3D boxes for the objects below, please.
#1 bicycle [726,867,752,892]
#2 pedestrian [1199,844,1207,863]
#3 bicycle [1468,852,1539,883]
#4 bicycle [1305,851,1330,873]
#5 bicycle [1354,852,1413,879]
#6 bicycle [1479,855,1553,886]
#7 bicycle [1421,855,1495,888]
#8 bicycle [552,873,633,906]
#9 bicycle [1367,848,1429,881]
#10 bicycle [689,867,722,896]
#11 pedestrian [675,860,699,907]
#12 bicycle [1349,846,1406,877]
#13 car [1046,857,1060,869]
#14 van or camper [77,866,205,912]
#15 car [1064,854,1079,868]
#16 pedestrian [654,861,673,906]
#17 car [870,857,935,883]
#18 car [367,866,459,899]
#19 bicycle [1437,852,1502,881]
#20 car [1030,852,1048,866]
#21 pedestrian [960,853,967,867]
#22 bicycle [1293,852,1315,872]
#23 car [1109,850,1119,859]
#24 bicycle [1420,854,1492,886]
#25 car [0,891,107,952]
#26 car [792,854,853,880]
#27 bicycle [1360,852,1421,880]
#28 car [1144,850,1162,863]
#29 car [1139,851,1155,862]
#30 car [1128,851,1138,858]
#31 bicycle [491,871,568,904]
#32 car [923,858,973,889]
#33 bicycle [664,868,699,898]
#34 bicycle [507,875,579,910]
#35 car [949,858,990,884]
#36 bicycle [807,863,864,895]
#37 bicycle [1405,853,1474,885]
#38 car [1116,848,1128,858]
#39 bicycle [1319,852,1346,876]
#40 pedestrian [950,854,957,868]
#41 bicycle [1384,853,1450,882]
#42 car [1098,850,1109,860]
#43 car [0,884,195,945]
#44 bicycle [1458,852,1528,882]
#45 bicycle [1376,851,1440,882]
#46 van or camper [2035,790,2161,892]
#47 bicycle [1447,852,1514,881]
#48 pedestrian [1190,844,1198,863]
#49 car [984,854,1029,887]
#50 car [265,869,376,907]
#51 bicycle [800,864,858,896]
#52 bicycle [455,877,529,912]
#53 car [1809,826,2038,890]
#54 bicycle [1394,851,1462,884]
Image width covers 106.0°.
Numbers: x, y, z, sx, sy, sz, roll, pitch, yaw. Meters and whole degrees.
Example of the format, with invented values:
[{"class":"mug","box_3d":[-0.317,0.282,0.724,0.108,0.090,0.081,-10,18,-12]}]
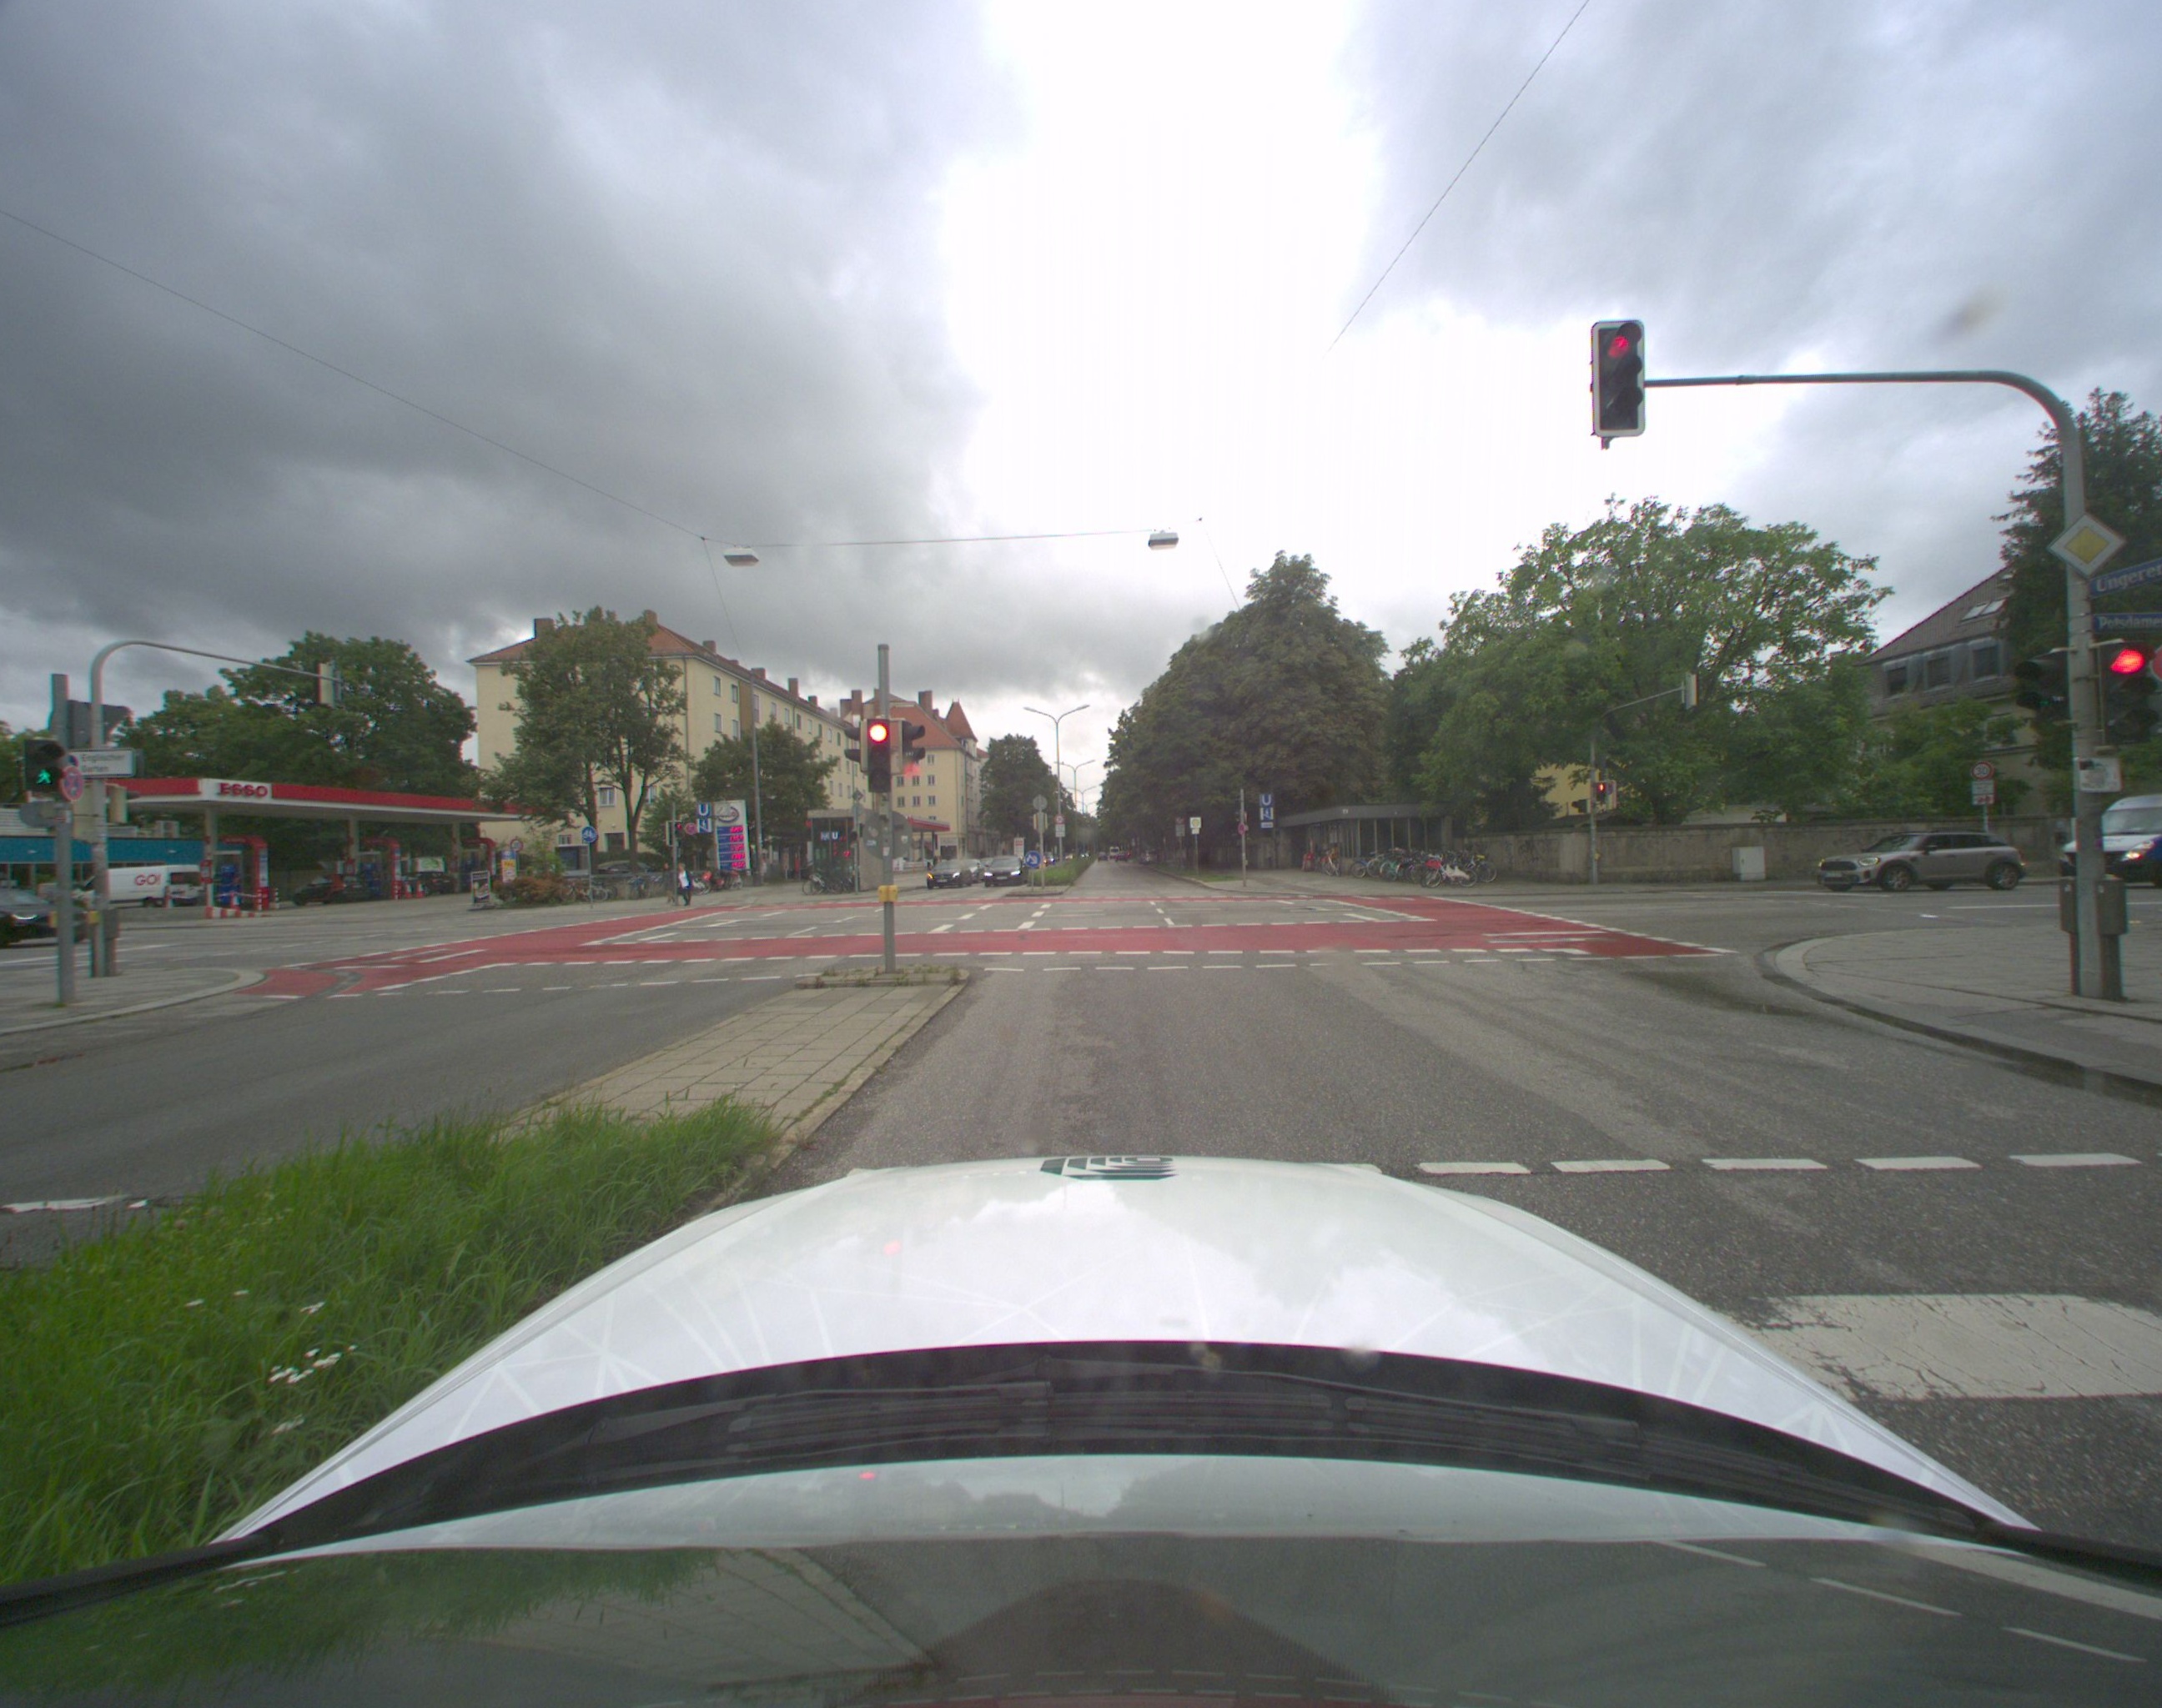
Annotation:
[{"class":"bicycle","box_3d":[-17.363,1.277,41.357,0.607,1.145,1.962,-2,0,-5]},{"class":"pedestrian","box_3d":[11.305,-0.043,75.708,0.674,1.682,0.684,-2,0,7]},{"class":"bicycle","box_3d":[14.926,0.468,28.828,2.130,1.014,0.636,-2,0,9]},{"class":"bicycle","box_3d":[11.300,0.379,39.000,0.555,1.014,2.015,-2,0,0]},{"class":"bicycle","box_3d":[12.253,0.456,33.010,2.130,1.014,0.604,-2,0,9]},{"class":"bicycle","box_3d":[14.957,0.565,28.029,2.130,1.014,0.636,-2,0,9]},{"class":"bicycle","box_3d":[12.546,0.586,27.151,2.130,1.014,0.604,-2,0,9]},{"class":"bicycle","box_3d":[-19.552,1.391,32.672,2.720,1.251,0.786,0,-1,-29]},{"class":"bicycle","box_3d":[12.206,0.410,31.427,2.130,1.178,0.604,-2,0,9]},{"class":"bicycle","box_3d":[-17.142,1.248,37.204,0.607,1.236,2.183,-2,0,-5]},{"class":"pedestrian","box_3d":[-14.559,1.081,30.132,0.531,1.695,0.578,-2,0,5]},{"class":"bicycle","box_3d":[12.270,0.324,33.729,2.130,1.218,0.604,-2,0,9]},{"class":"car","box_3d":[-3.931,1.271,114.700,1.753,1.493,4.001,-2,0,1]},{"class":"van or camper","box_3d":[-51.931,1.895,45.062,4.526,2.323,1.917,-2,0,-3]},{"class":"car","box_3d":[-0.994,0.762,85.979,1.463,1.399,3.701,-2,0,1]},{"class":"pedestrian","box_3d":[-16.122,1.129,31.445,0.593,1.695,0.571,-2,0,-29]},{"class":"car","box_3d":[-12.244,1.104,56.060,1.793,1.608,3.991,-2,0,44]},{"class":"car","box_3d":[-40.157,1.702,49.036,3.973,1.784,1.858,-2,0,1]},{"class":"bicycle","box_3d":[14.865,0.476,31.177,2.130,1.014,0.636,-2,0,9]},{"class":"car","box_3d":[-5.235,0.559,102.237,1.870,1.668,4.001,-2,0,1]},{"class":"pedestrian","box_3d":[-13.910,0.698,96.227,0.693,1.638,0.738,-2,0,1]},{"class":"bicycle","box_3d":[11.591,0.398,42.365,0.555,1.014,2.015,-2,0,0]},{"class":"car","box_3d":[6.823,0.067,168.866,1.986,1.756,4.001,-2,0,1]},{"class":"bicycle","box_3d":[12.762,0.532,27.771,2.130,1.014,0.636,-2,0,9]},{"class":"car","box_3d":[-27.710,1.741,20.904,3.532,1.412,1.666,-2,0,4]},{"class":"car","box_3d":[-19.905,1.010,62.830,3.976,1.838,1.879,-2,0,-2]},{"class":"bicycle","box_3d":[12.198,0.471,32.129,2.130,1.062,0.604,-2,0,9]},{"class":"car","box_3d":[7.957,0.266,89.994,1.737,1.363,3.807,-2,0,1]},{"class":"car","box_3d":[8.097,0.294,99.925,1.737,1.363,3.807,-2,0,1]},{"class":"car","box_3d":[10.144,0.114,159.685,1.737,1.427,3.900,-2,0,1]},{"class":"bicycle","box_3d":[-21.846,1.308,32.276,2.393,1.251,0.789,0,-1,-10]},{"class":"car","box_3d":[-6.805,0.964,42.006,1.753,1.460,4.001,-2,0,1]},{"class":"bicycle","box_3d":[-17.823,1.268,36.389,0.607,1.236,2.183,-2,0,-5]},{"class":"bicycle","box_3d":[-20.859,1.469,31.617,2.180,1.236,0.763,-2,0,-10]},{"class":"car","box_3d":[-6.673,0.989,49.051,1.753,1.460,4.001,-2,0,1]},{"class":"bicycle","box_3d":[-10.938,1.112,36.372,2.276,1.304,0.694,-2,0,2]},{"class":"bicycle","box_3d":[12.564,0.524,28.581,2.130,1.071,0.604,-2,0,9]},{"class":"car","box_3d":[6.507,-0.158,129.197,1.915,1.684,4.002,0,0,2]},{"class":"bicycle","box_3d":[11.169,0.450,36.268,0.555,1.014,2.015,-2,0,0]},{"class":"pedestrian","box_3d":[-15.502,0.810,98.800,0.693,1.638,0.738,-2,0,1]},{"class":"bicycle","box_3d":[12.337,0.490,29.956,2.130,1.014,0.604,-2,0,9]},{"class":"car","box_3d":[3.737,0.176,134.915,1.850,1.684,4.001,-2,0,1]},{"class":"car","box_3d":[-30.999,1.861,25.430,4.747,1.647,1.786,-2,0,2]},{"class":"bicycle","box_3d":[14.954,0.472,29.595,2.130,1.014,0.636,-2,0,9]},{"class":"bicycle","box_3d":[12.317,0.455,30.686,2.130,1.086,0.604,-2,0,9]},{"class":"van or camper","box_3d":[28.554,-0.392,20.859,5.529,2.469,2.069,-2,0,3]},{"class":"bicycle","box_3d":[14.896,0.474,30.391,2.130,1.014,0.636,-2,0,9]},{"class":"pedestrian","box_3d":[10.455,-0.062,75.382,0.674,1.682,0.684,-2,0,7]},{"class":"car","box_3d":[-3.675,0.802,40.869,1.753,1.493,4.001,-2,0,1]},{"class":"car","box_3d":[-39.467,1.753,42.350,3.973,1.784,1.858,-2,0,1]},{"class":"bicycle","box_3d":[-10.985,1.121,35.592,2.262,1.304,0.704,-2,0,2]},{"class":"bicycle","box_3d":[-22.793,1.542,31.566,2.179,1.236,0.764,-2,0,-8]},{"class":"car","box_3d":[22.129,0.102,21.518,4.150,1.514,1.697,-2,0,3]},{"class":"bicycle","box_3d":[12.445,0.481,29.239,2.130,1.101,0.604,-2,0,9]}]
